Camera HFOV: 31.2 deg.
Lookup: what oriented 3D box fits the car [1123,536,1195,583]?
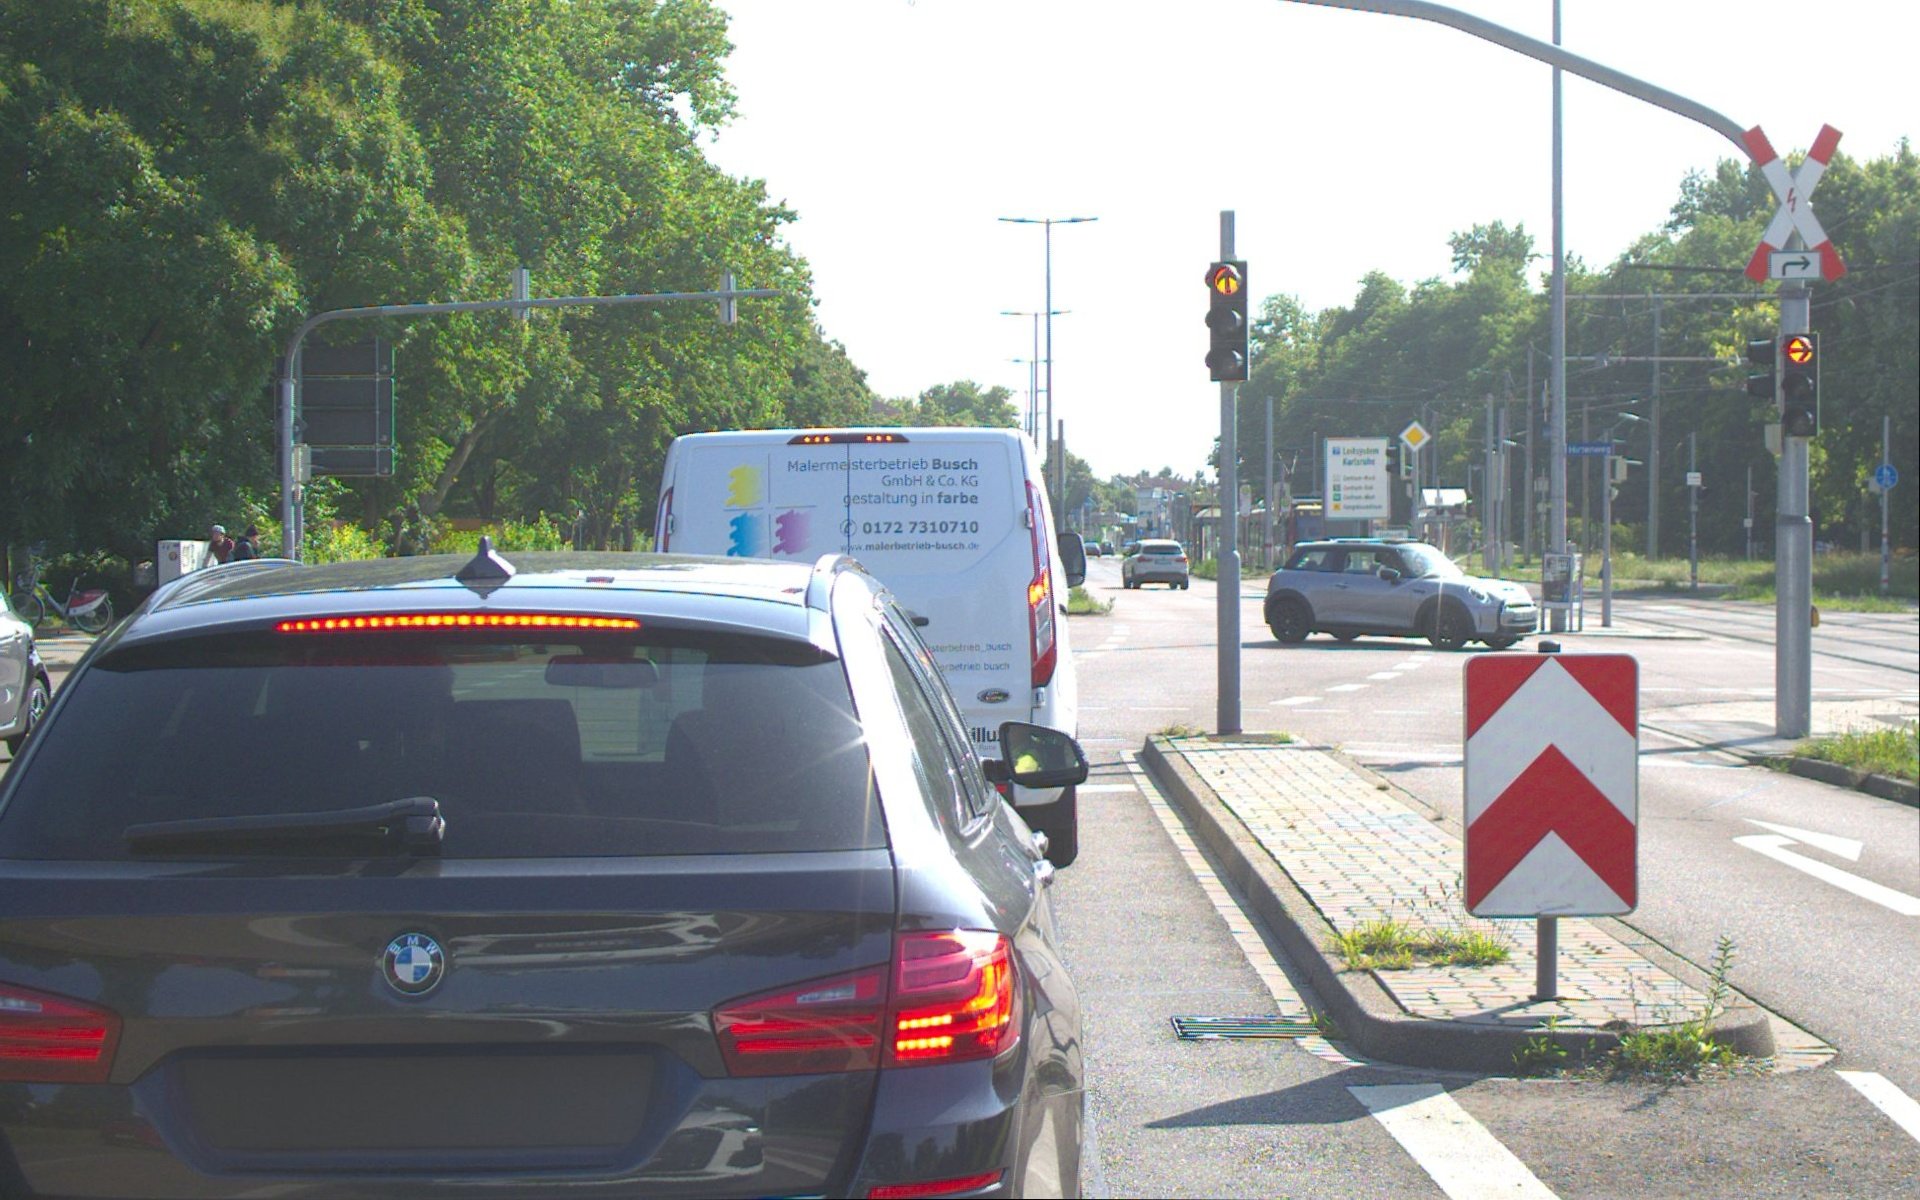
[{"bbox_3d":[6.499,-1.335,112.585,1.793,1.481,3.900,2,1,-4],"label":"car"}]

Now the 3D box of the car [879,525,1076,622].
[{"bbox_3d":[0.251,-0.467,57.510,1.849,1.557,4.205,0,1,-22],"label":"car"}]

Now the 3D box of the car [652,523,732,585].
[{"bbox_3d":[-7.067,-1.220,90.960,1.745,1.556,4.000,-2,1,0],"label":"car"}]

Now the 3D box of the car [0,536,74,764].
[{"bbox_3d":[-7.387,0.365,23.513,1.633,1.555,3.676,-2,1,0],"label":"car"}]

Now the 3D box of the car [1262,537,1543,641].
[{"bbox_3d":[6.108,-0.176,47.554,3.525,1.379,1.603,1,1,35],"label":"car"}]

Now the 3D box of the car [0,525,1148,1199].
[{"bbox_3d":[-0.726,0.614,6.457,1.903,1.500,4.065,0,1,0],"label":"car"}]

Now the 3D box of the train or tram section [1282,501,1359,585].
[{"bbox_3d":[16.268,-2.537,155.905,2.796,3.606,12.954,1,1,3],"label":"train or tram section"}]

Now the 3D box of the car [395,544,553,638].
[{"bbox_3d":[-7.644,-0.170,54.406,1.779,1.410,4.245,0,1,2],"label":"car"}]

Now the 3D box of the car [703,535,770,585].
[{"bbox_3d":[-6.710,-1.217,103.383,1.888,1.469,4.100,-1,1,-2],"label":"car"}]

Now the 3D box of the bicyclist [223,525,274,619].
[{"bbox_3d":[-11.817,-0.475,57.100,0.608,1.555,0.602,0,1,17],"label":"bicyclist"}]

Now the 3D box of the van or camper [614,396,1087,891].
[{"bbox_3d":[-0.425,0.137,16.822,1.993,2.089,4.598,0,1,1],"label":"van or camper"}]

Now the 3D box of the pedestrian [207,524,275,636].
[{"bbox_3d":[-11.409,-0.325,54.569,0.816,1.746,0.931,0,1,5],"label":"pedestrian"}]

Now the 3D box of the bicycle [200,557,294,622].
[{"bbox_3d":[-11.824,-0.182,57.086,0.620,1.037,2.070,0,1,17],"label":"bicycle"}]

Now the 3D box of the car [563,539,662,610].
[{"bbox_3d":[-7.691,-0.585,76.466,1.702,1.460,4.370,-2,1,0],"label":"car"}]

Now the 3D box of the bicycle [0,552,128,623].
[{"bbox_3d":[-14.268,-0.199,54.664,1.909,1.115,0.632,0,1,0],"label":"bicycle"}]
